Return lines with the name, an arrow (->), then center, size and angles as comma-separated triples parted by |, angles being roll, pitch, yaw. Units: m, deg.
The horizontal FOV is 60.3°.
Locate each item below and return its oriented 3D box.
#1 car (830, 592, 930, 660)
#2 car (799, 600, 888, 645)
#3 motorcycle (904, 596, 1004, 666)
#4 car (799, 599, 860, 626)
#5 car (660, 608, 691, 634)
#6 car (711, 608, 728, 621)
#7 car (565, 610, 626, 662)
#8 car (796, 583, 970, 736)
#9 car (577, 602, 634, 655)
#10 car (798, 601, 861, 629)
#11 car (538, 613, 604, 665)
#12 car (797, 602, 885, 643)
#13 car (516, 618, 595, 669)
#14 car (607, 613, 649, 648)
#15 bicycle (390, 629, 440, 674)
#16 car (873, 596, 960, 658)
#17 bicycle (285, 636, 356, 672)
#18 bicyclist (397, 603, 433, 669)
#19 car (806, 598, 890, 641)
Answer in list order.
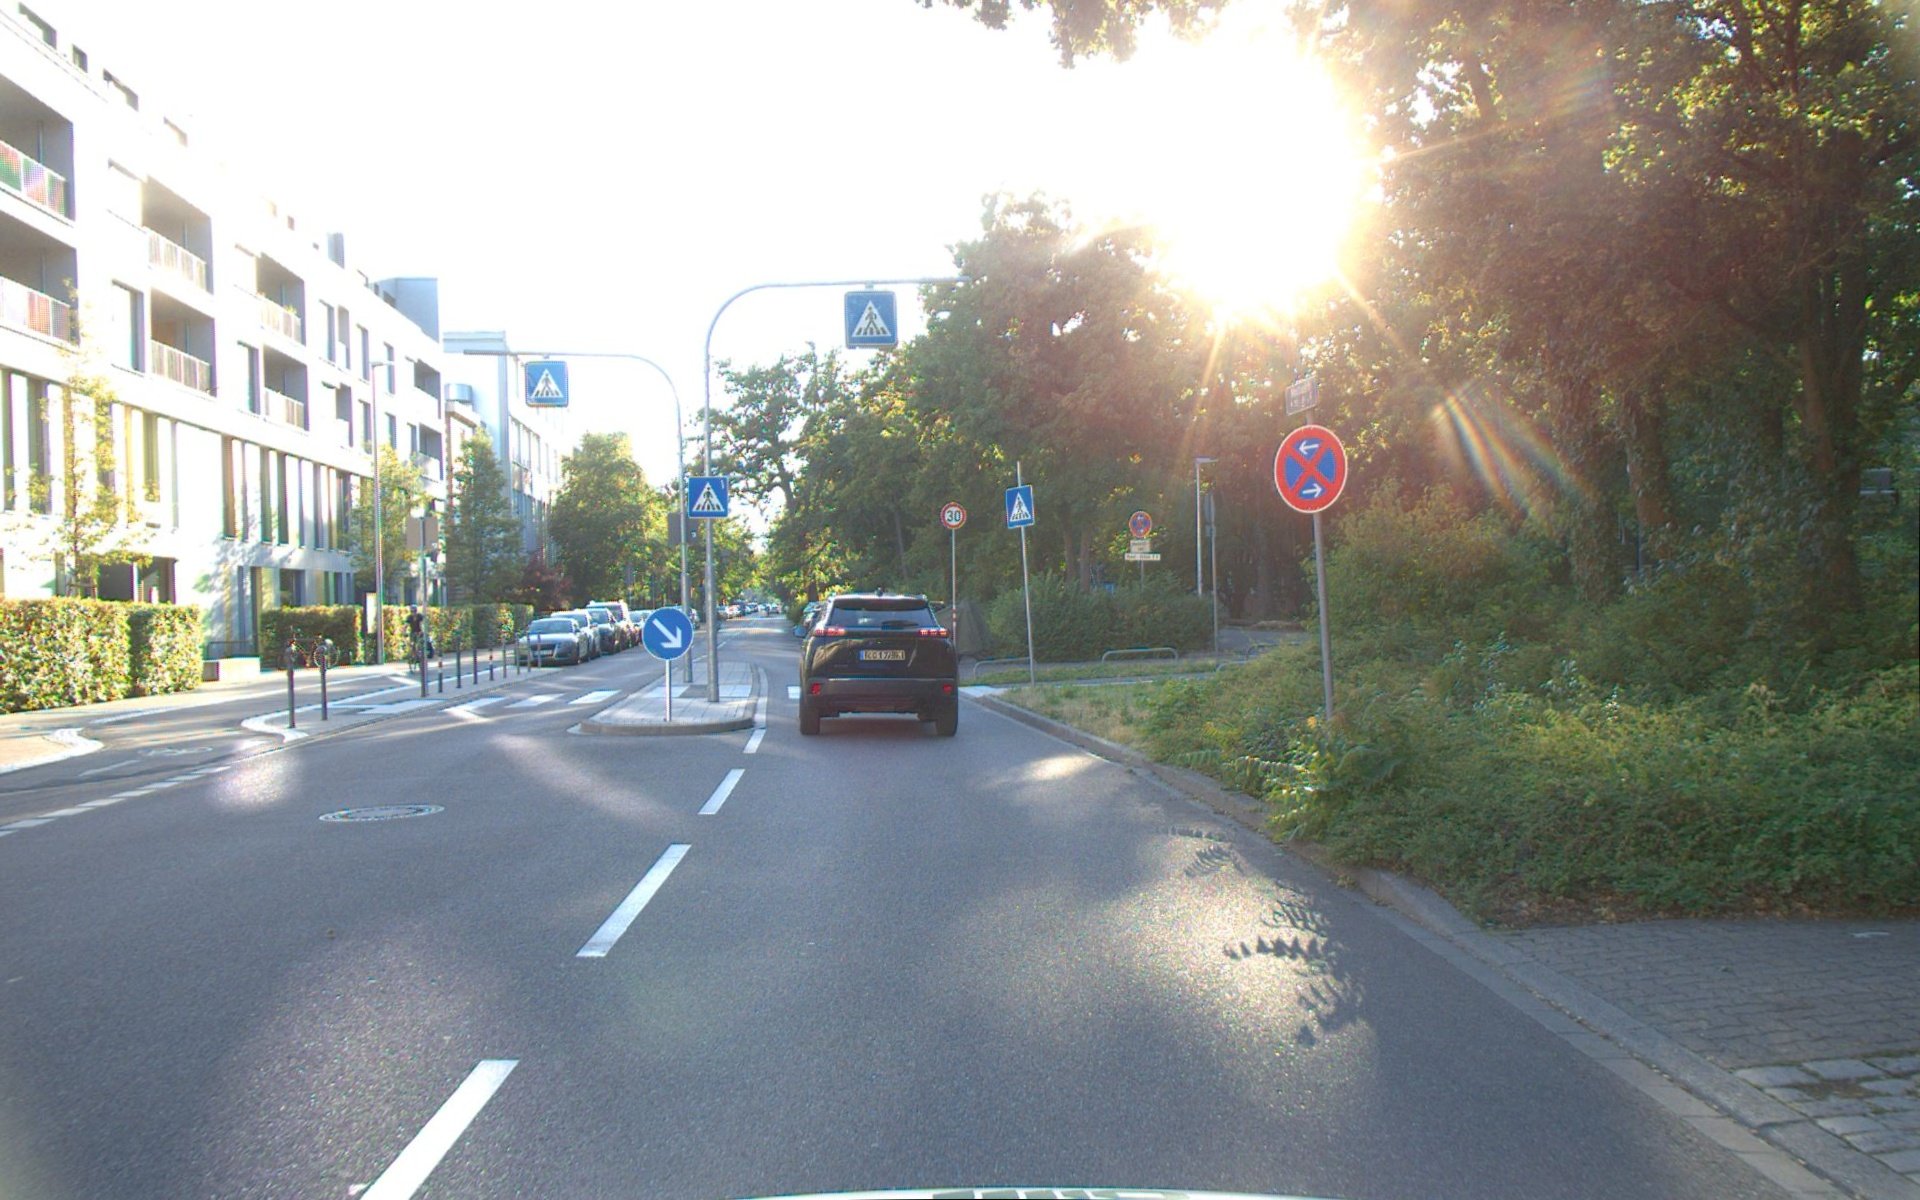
car -> -2.386, 0.739, 47.894 | 1.890, 1.779, 4.646 | -2, 0, -15
car -> -4.919, 0.934, 69.539 | 3.544, 1.551, 1.668 | -5, 1, -9
motorcycle -> -0.139, 0.726, 39.302 | 2.243, 1.572, 1.040 | -2, 0, 4
car -> -8.905, 0.867, 113.262 | 4.087, 1.740, 1.866 | -1, 0, -3
car -> -18.614, 1.368, 108.183 | 1.639, 1.519, 4.056 | -3, 1, -6
car -> -28.554, 1.719, 196.440 | 1.778, 1.378, 3.989 | -2, 0, -11
car -> -13.317, 1.285, 60.588 | 1.709, 1.705, 4.409 | -3, 1, -7
car -> -0.971, 0.634, 19.034 | 1.734, 1.596, 3.375 | 0, 0, -7
car -> -14.029, 1.089, 65.633 | 1.774, 1.922, 4.231 | -3, 1, -8
car -> -8.552, 0.964, 108.538 | 4.044, 1.696, 1.720 | -2, 0, -7
car -> -12.830, 1.247, 54.722 | 1.710, 1.560, 4.107 | -2, 0, -8
car -> -5.194, 0.962, 71.899 | 3.599, 1.469, 1.731 | -5, 1, -9
car -> -12.080, 1.268, 49.615 | 1.709, 1.380, 4.390 | -2, 0, -7
car -> -15.090, 1.354, 75.363 | 1.568, 1.480, 3.855 | -2, 0, -8
bicycle -> -14.091, 1.323, 42.795 | 0.620, 1.097, 1.883 | -2, 0, 1
car -> -1.179, 0.692, 43.542 | 1.592, 1.512, 3.407 | -2, 0, -13
bicycle -> -17.501, 1.477, 45.310 | 1.719, 0.934, 0.616 | 0, -1, -9
bicyclist -> -14.100, 0.917, 42.827 | 0.613, 1.673, 0.758 | -2, 0, 0
car -> -5.068, 0.875, 74.611 | 3.599, 1.579, 1.731 | -5, 1, -9
